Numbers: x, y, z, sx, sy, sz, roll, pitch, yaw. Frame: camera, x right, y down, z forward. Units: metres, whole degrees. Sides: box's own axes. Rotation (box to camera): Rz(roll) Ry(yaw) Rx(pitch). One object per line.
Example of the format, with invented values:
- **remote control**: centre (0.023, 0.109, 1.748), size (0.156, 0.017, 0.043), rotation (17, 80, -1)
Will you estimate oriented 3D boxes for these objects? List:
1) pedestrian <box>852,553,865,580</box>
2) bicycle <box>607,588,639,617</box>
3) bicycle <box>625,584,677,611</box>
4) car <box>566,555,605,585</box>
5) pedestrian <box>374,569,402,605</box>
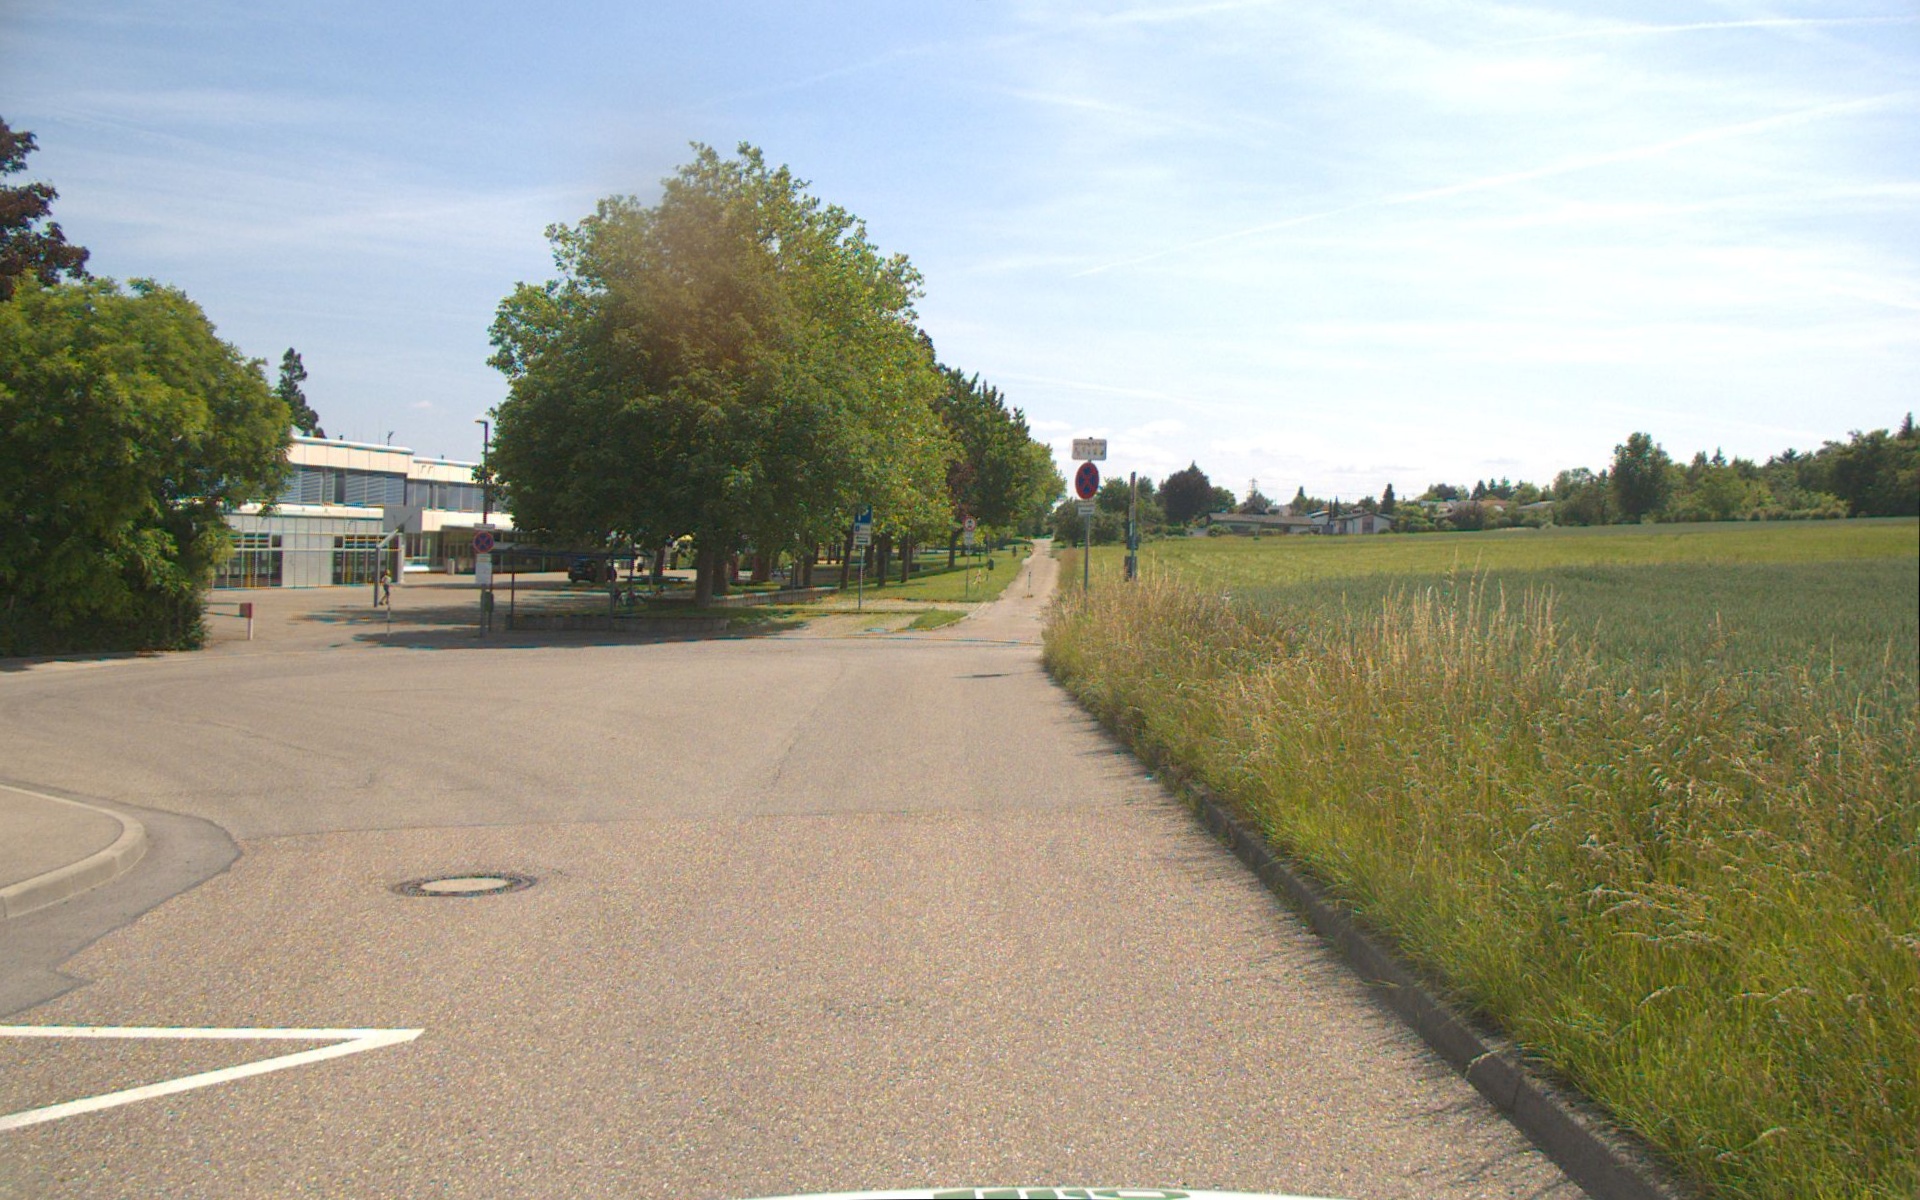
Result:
- **pedestrian**: centre (-7.541, -2.486, 123.276), size (0.675, 2.049, 0.795), rotation (0, 1, -30)
- **bicycle**: centre (-13.204, 0.091, 64.833), size (0.582, 1.057, 1.895), rotation (0, 1, 10)
- **bicycle**: centre (-12.472, -0.113, 66.824), size (2.022, 1.057, 0.571), rotation (-1, 1, -6)
- **car**: centre (-23.512, -1.907, 103.922), size (1.656, 1.866, 3.411), rotation (0, 1, 0)
- **pedestrian**: centre (-23.198, -0.535, 67.071), size (1.050, 1.448, 0.915), rotation (0, 1, -19)
